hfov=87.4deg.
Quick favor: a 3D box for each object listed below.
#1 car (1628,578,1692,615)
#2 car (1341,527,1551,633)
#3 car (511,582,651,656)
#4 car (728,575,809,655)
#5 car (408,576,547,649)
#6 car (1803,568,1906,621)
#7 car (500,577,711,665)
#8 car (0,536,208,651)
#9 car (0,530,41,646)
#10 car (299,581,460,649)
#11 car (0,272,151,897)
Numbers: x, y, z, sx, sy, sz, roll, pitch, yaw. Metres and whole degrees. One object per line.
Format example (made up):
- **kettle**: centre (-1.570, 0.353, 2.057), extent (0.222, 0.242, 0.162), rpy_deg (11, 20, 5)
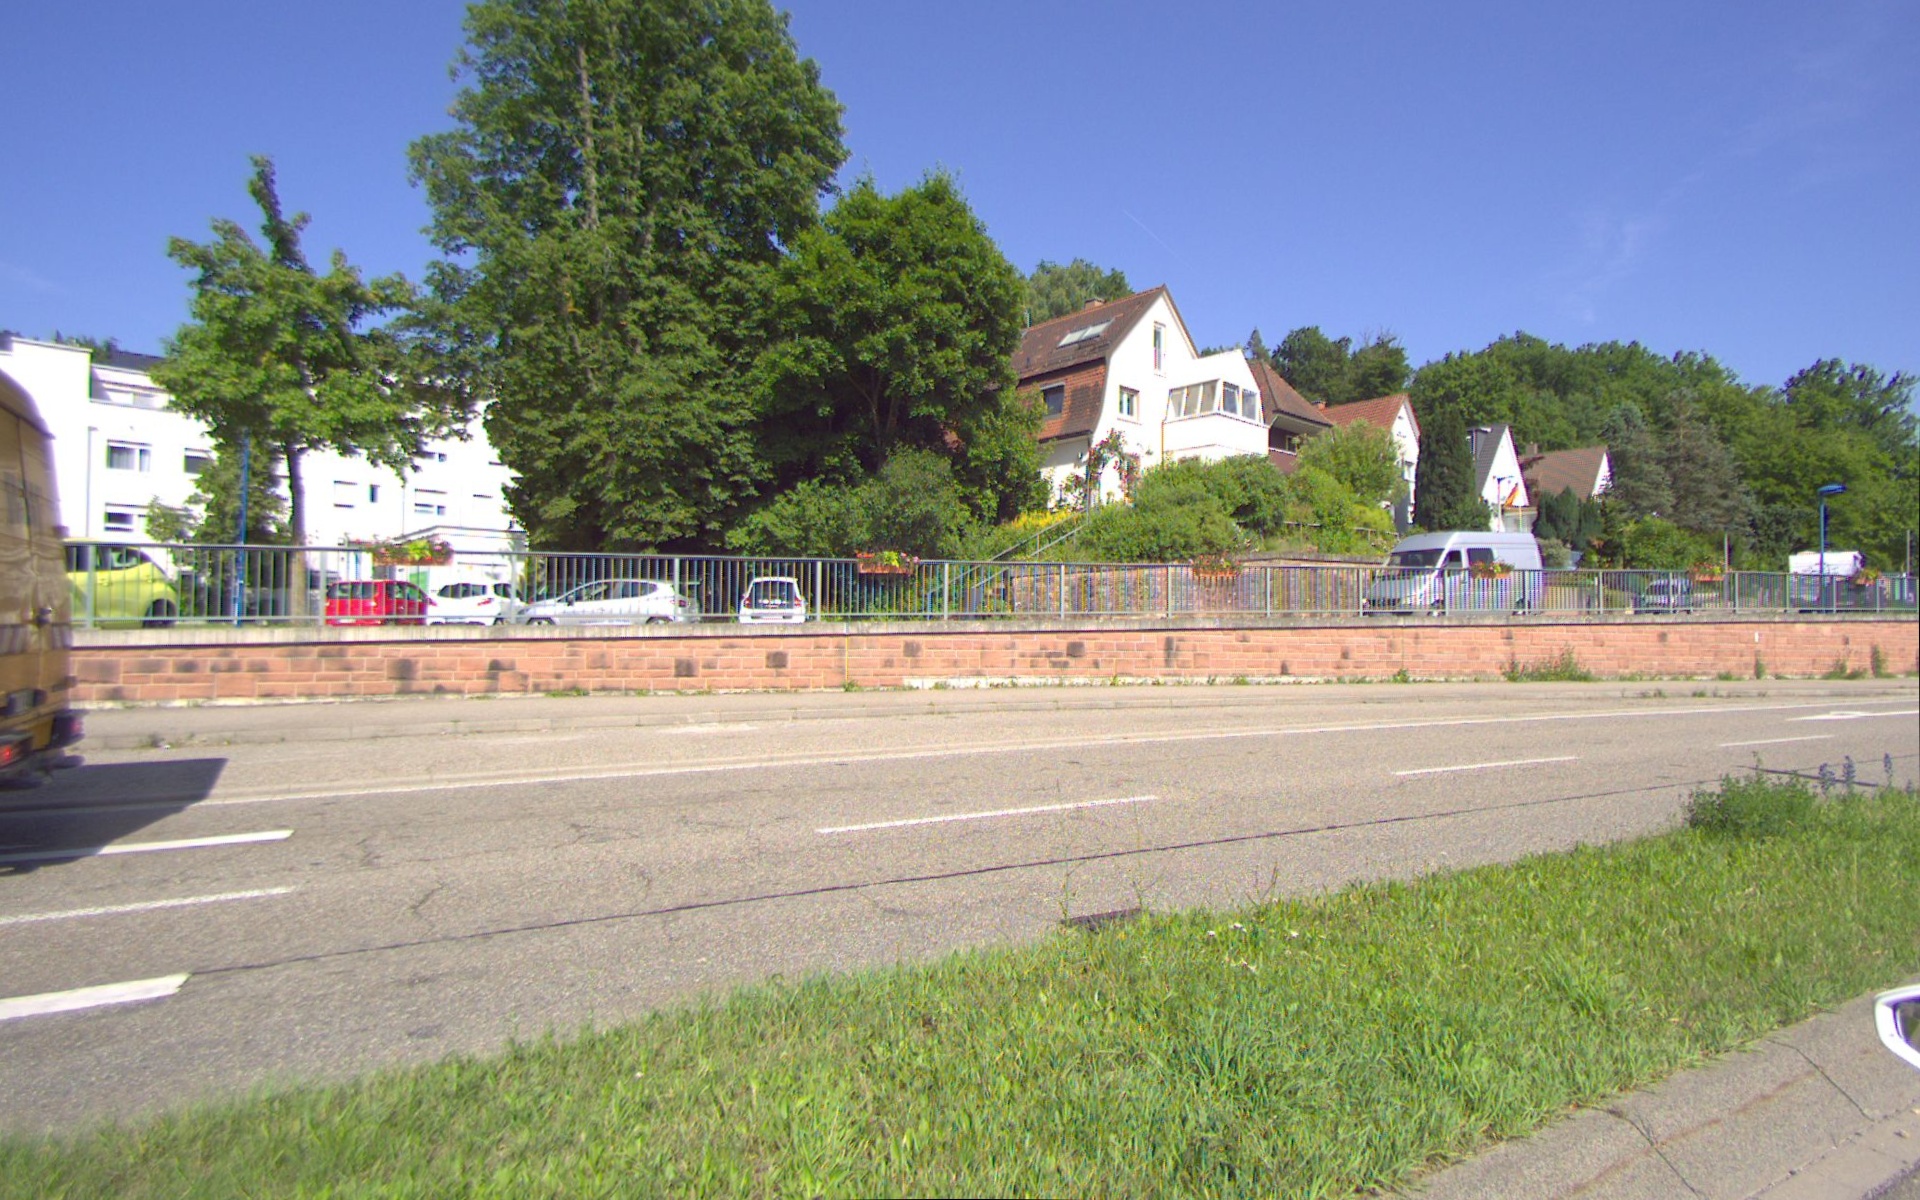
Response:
- **car**: centre (33.826, -0.145, 48.511), extent (3.974, 1.651, 1.876), rpy_deg (1, -1, -45)
- **car**: centre (12.584, -0.491, 25.905), extent (5.718, 2.477, 2.082), rpy_deg (0, 2, -31)
- **car**: centre (-9.476, 0.401, 25.488), extent (1.960, 1.694, 4.000), rpy_deg (1, 1, 1)
- **car**: centre (-4.904, 0.318, 26.153), extent (1.879, 1.901, 3.994), rpy_deg (1, 1, -8)
- **car**: centre (-12.325, 0.258, 25.967), extent (1.877, 1.724, 3.997), rpy_deg (0, 1, -4)
- **car**: centre (34.943, -0.224, 39.196), extent (4.685, 1.946, 2.007), rpy_deg (0, 2, -36)
- **car**: centre (-7.710, 0.458, 22.133), extent (3.921, 1.813, 1.922), rpy_deg (1, -1, -1)
- **car**: centre (-12.652, -0.123, 13.661), extent (1.876, 1.400, 3.999), rpy_deg (1, 1, -1)
- **car**: centre (-15.287, -0.162, 13.408), extent (2.017, 1.719, 4.414), rpy_deg (2, 2, -1)
- **car**: centre (-14.725, 0.326, 25.759), extent (1.876, 1.581, 3.999), rpy_deg (1, 1, -1)
- **car**: centre (-7.790, -0.153, 4.333), extent (6.396, 3.051, 2.453), rpy_deg (1, 0, -33)
